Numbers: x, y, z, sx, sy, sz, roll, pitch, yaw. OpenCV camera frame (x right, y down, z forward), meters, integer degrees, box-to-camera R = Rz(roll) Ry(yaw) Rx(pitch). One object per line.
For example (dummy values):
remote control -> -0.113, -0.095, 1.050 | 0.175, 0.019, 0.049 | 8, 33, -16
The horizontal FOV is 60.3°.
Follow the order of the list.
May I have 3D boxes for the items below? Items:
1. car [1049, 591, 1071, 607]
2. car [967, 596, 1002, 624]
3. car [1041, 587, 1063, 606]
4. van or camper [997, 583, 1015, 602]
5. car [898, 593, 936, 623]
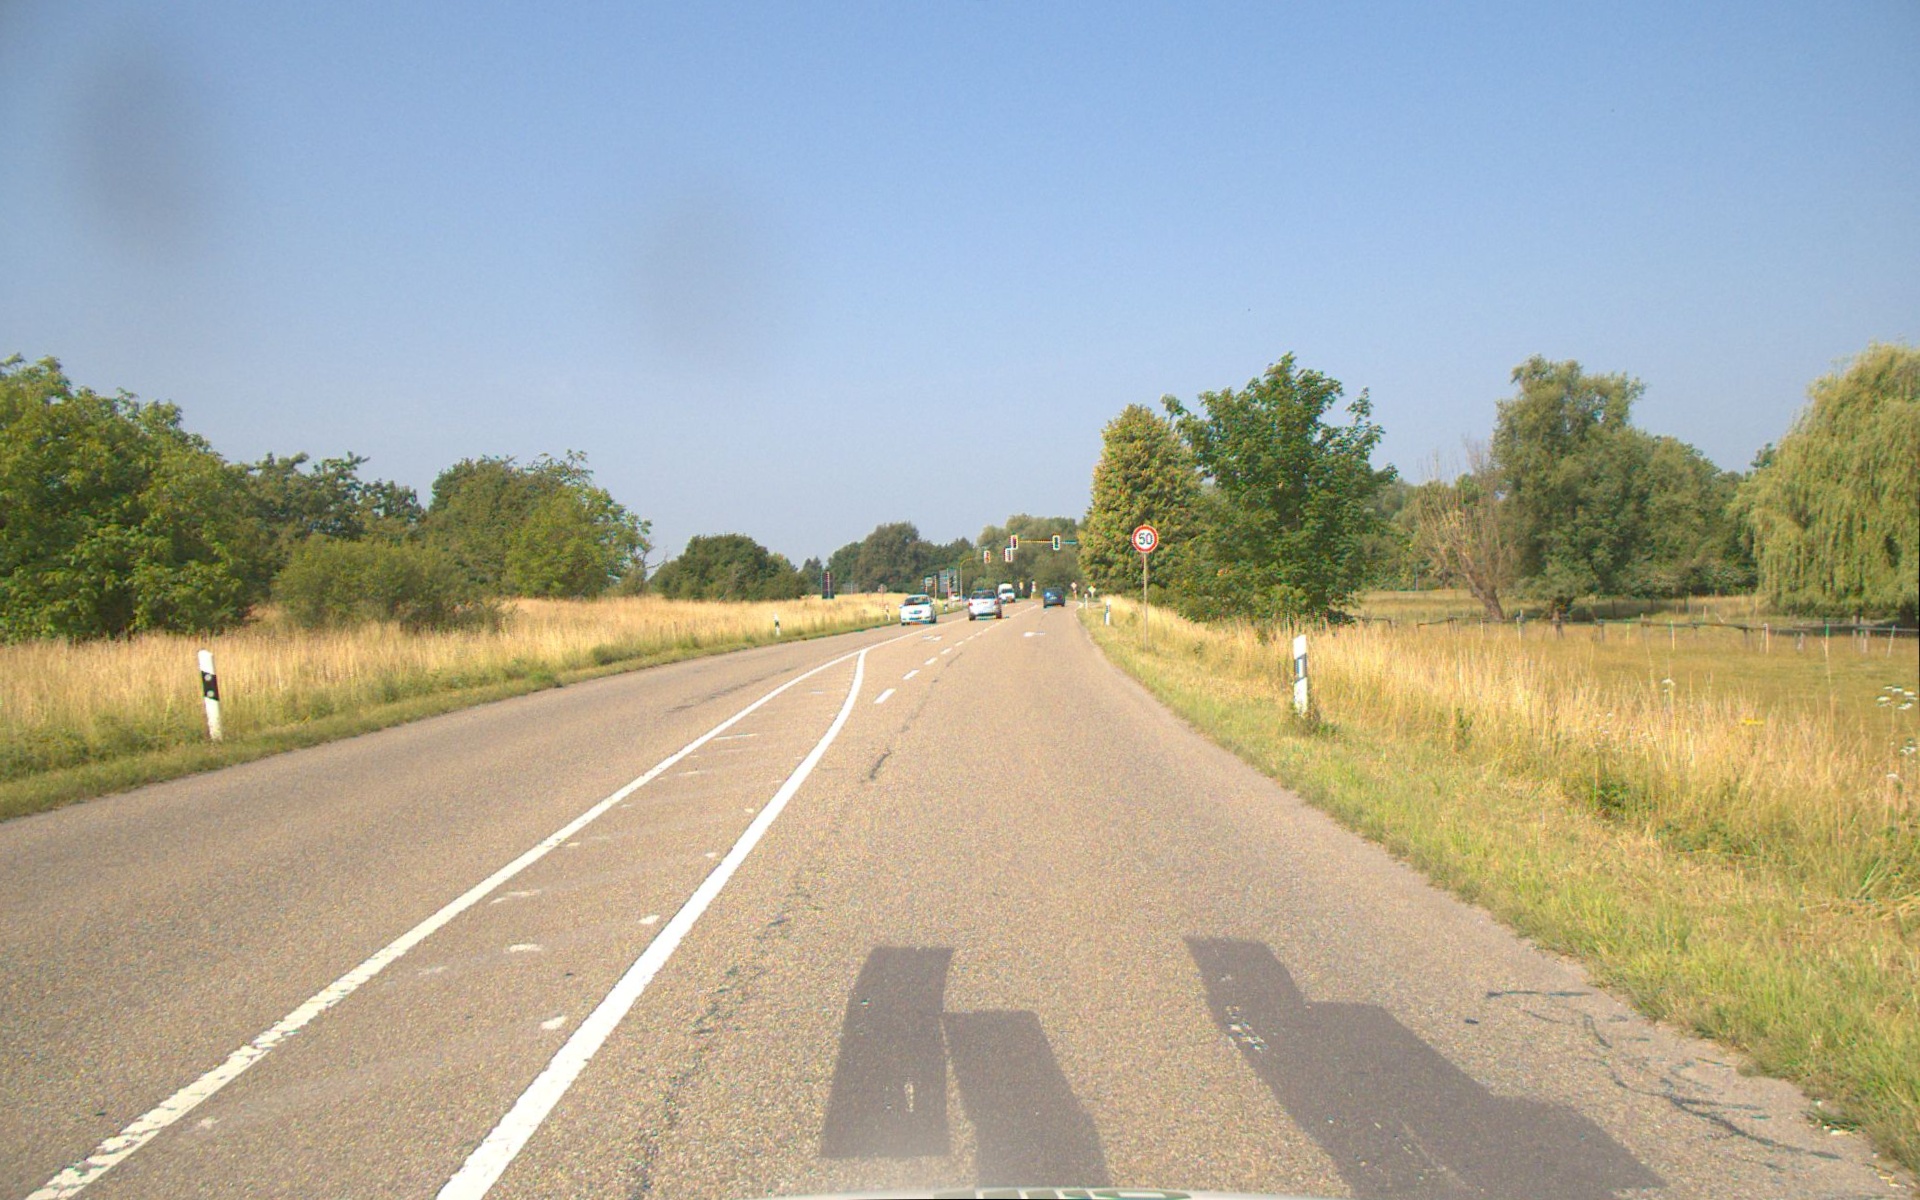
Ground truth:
car -> 9.989, -0.073, 165.792 | 1.804, 1.579, 3.999 | 1, 0, -1
car -> 1.409, 0.572, 94.025 | 1.859, 1.538, 4.001 | 1, 0, 3
car -> 7.825, -0.293, 140.562 | 1.778, 1.547, 4.002 | -2, 0, 4
van or camper -> 6.548, -1.068, 236.266 | 2.217, 2.757, 5.265 | 1, 0, 4
car -> -2.373, 0.418, 92.437 | 1.774, 1.613, 4.226 | -1, 0, 2
